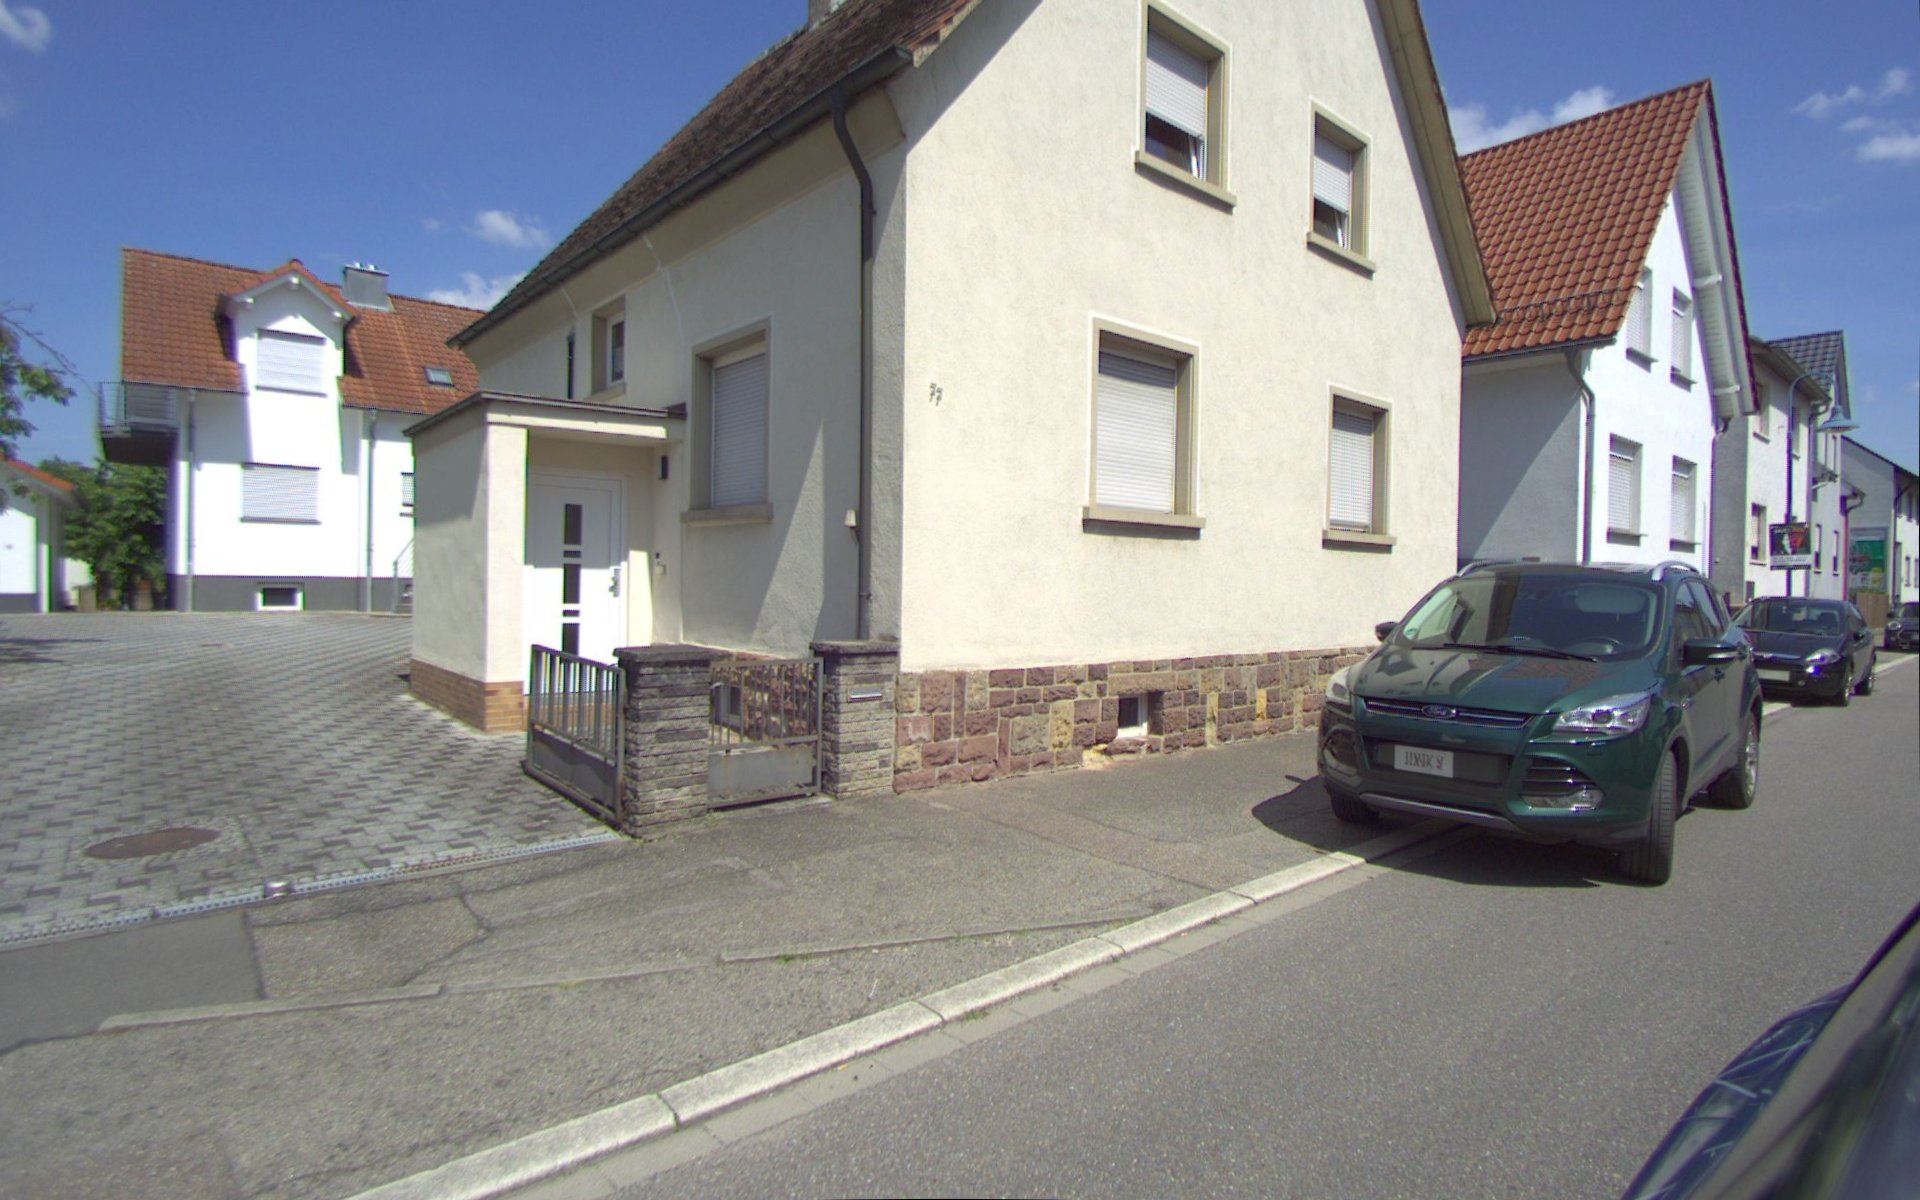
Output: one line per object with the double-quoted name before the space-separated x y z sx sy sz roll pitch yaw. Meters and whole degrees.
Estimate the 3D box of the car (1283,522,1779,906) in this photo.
"car" 3.971 0.489 6.675 4.205 1.738 1.730 0 1 -44

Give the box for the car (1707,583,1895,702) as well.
"car" 12.919 0.552 15.470 3.904 1.514 1.620 0 4 -42

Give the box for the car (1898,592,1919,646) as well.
"car" 27.549 0.526 28.250 3.594 1.440 1.691 0 1 -42
